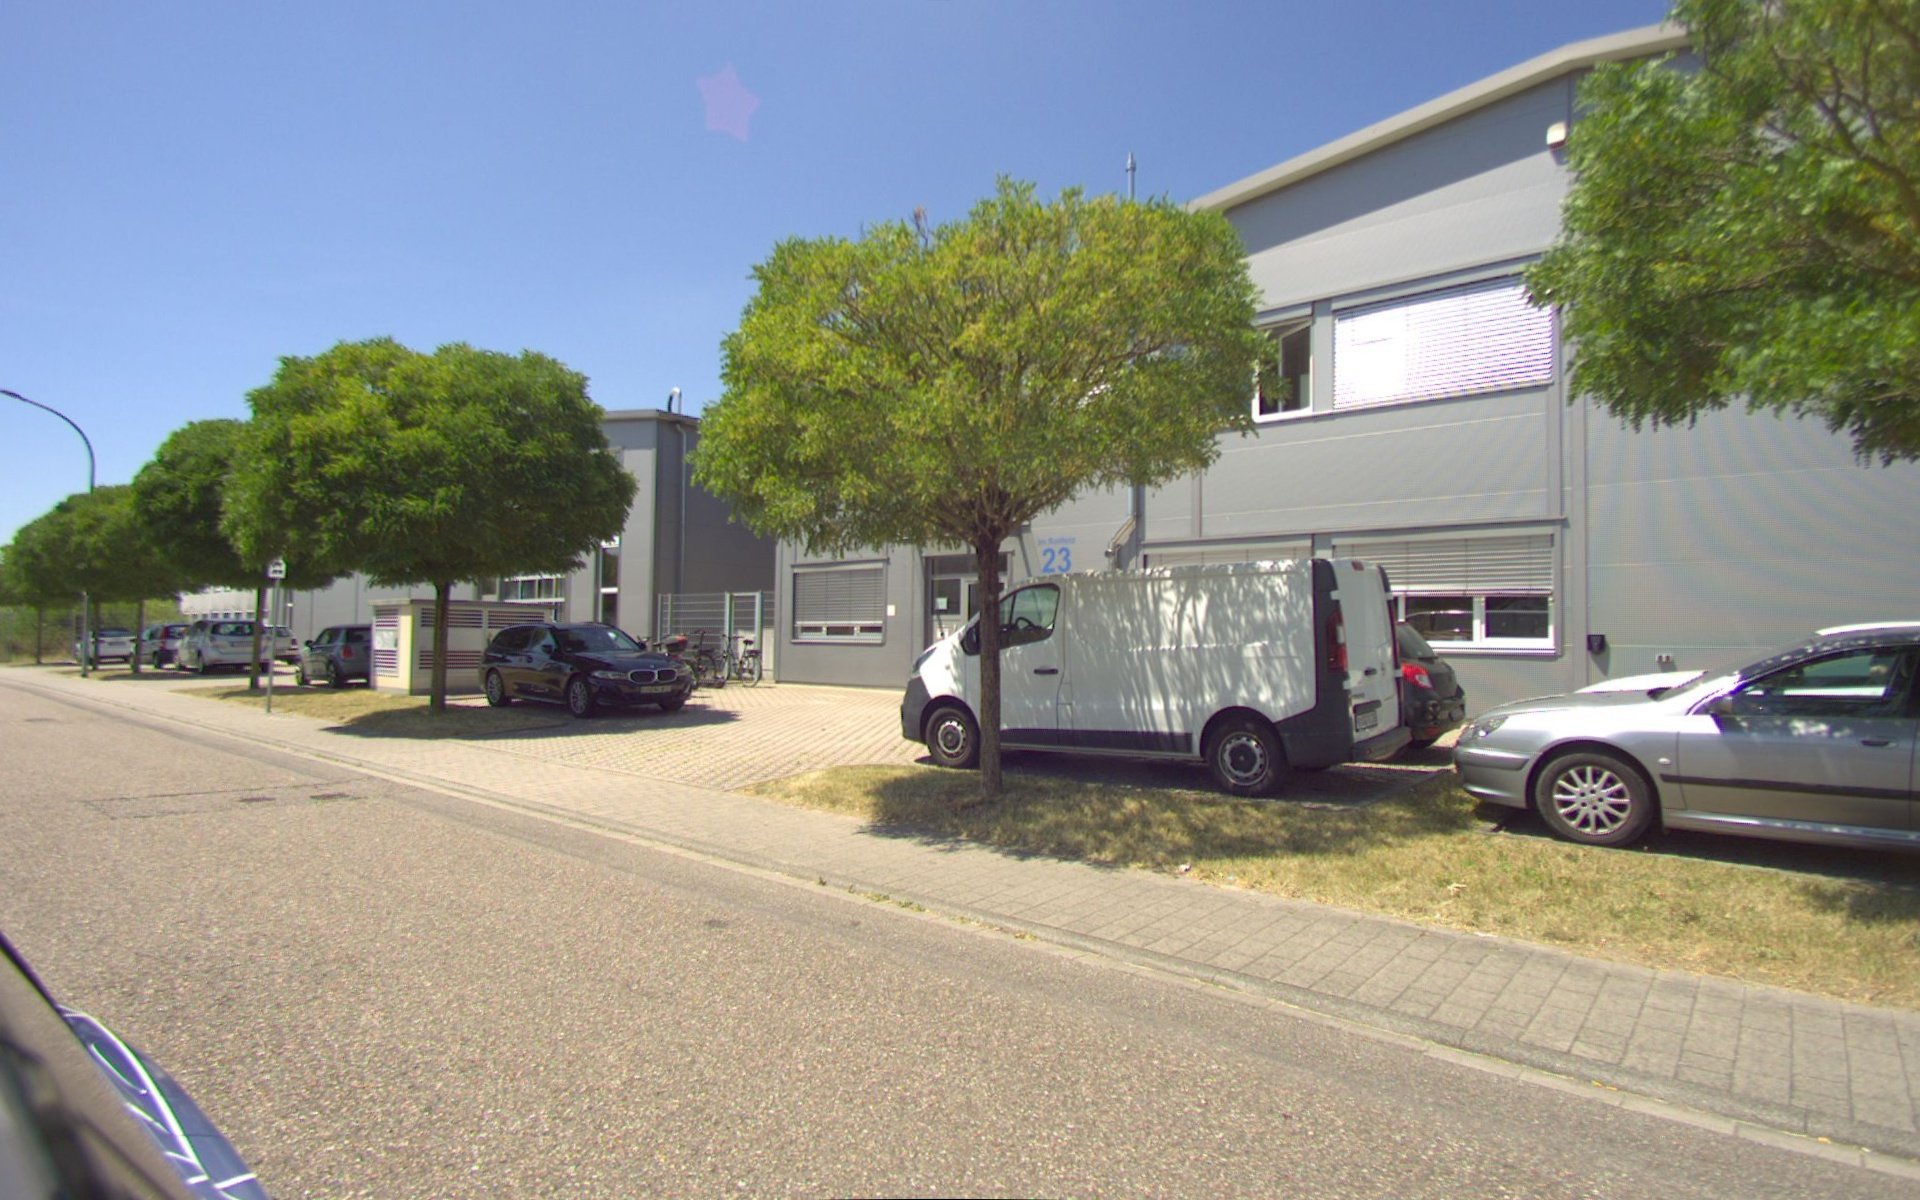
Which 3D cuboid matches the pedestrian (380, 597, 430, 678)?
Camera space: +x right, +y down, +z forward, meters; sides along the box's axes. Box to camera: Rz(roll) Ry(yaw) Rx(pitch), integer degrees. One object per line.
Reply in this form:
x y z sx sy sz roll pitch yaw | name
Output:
-14.023 0.943 25.583 0.829 1.987 0.967 0 -1 -10 | pedestrian

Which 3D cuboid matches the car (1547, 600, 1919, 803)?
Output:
7.510 0.744 8.217 4.463 1.476 1.907 -2 -1 41 | car

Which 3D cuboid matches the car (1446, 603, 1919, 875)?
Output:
5.825 0.796 6.170 4.839 1.451 1.906 0 -2 41 | car

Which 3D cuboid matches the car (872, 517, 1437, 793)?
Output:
1.644 0.471 9.794 5.119 2.034 1.819 -1 -3 38 | car

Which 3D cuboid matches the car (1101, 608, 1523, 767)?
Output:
3.849 0.853 11.395 4.082 1.451 1.908 -2 -1 39 | car

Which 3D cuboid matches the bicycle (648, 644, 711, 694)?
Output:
-5.883 1.417 21.153 1.695 0.985 0.347 -2 -1 39 | bicycle

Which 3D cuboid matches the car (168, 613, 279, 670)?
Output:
-22.312 1.227 30.599 4.537 1.585 1.747 -2 -2 41 | car

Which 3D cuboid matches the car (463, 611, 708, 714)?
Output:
-6.346 0.960 16.863 4.711 1.464 1.747 -2 -1 41 | car

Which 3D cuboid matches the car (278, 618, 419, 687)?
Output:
-14.301 1.168 23.595 3.838 1.464 1.747 -2 -2 41 | car

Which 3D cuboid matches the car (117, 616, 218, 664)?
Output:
-26.445 1.328 33.742 3.696 1.511 1.668 -2 -3 36 | car

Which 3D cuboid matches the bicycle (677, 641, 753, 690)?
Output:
-5.296 1.392 21.816 2.062 0.985 0.431 -2 -1 39 | bicycle

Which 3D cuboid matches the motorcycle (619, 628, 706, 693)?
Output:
-5.754 1.143 19.492 2.079 1.171 0.510 -2 -1 39 | motorcycle

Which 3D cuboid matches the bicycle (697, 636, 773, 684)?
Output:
-4.967 1.300 22.246 2.062 0.985 0.431 -2 -1 39 | bicycle

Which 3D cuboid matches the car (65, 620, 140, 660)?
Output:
-34.805 1.587 41.046 4.326 1.511 1.805 -2 -1 42 | car
